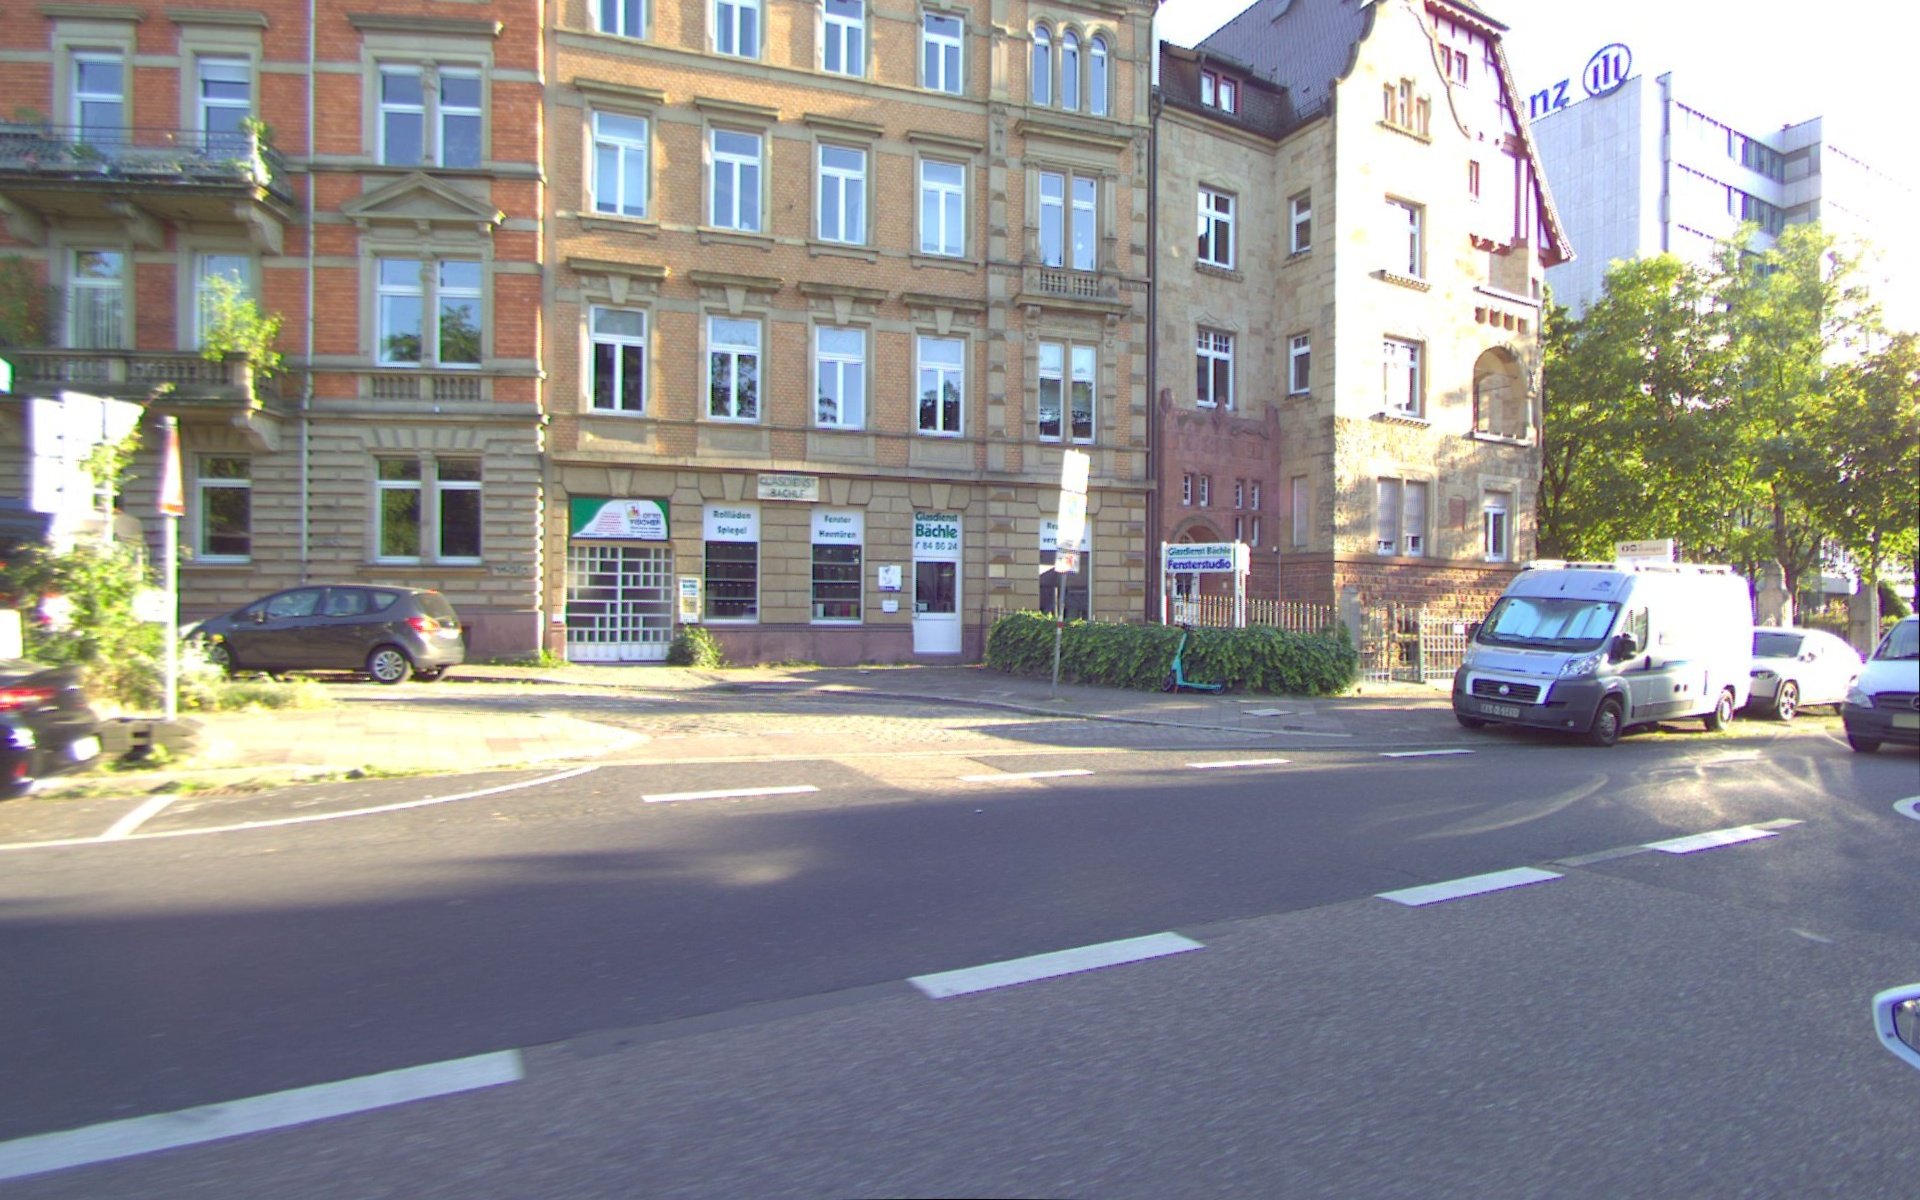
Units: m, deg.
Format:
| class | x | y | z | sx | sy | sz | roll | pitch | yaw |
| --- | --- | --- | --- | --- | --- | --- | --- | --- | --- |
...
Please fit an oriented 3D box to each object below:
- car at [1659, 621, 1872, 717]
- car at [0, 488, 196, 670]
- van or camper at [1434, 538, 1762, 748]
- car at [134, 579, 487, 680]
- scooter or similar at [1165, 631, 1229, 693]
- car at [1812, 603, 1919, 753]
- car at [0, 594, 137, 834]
| class | x | y | z | sx | sy | sz | roll | pitch | yaw |
| --- | --- | --- | --- | --- | --- | --- | --- | --- | --- |
| car | 15.225 | 1.225 | 18.934 | 4.253 | 1.555 | 1.737 | 1 | 1 | -31 |
| car | -15.852 | -0.288 | 16.230 | 5.208 | 2.775 | 2.126 | 0 | -2 | -5 |
| van or camper | 9.927 | 0.576 | 15.407 | 5.976 | 2.704 | 1.981 | 1 | 1 | -34 |
| car | -10.624 | 0.500 | 16.768 | 4.476 | 1.557 | 1.998 | 0 | -2 | -6 |
| scooter or similar | 4.206 | 1.094 | 17.842 | 1.095 | 1.071 | 0.288 | 0 | -2 | 13 |
| car | 14.073 | 1.008 | 13.770 | 5.106 | 1.855 | 1.985 | 1 | -2 | -29 |
| car | -8.301 | 0.691 | 6.122 | 4.772 | 1.503 | 1.984 | 1 | -1 | -30 |
